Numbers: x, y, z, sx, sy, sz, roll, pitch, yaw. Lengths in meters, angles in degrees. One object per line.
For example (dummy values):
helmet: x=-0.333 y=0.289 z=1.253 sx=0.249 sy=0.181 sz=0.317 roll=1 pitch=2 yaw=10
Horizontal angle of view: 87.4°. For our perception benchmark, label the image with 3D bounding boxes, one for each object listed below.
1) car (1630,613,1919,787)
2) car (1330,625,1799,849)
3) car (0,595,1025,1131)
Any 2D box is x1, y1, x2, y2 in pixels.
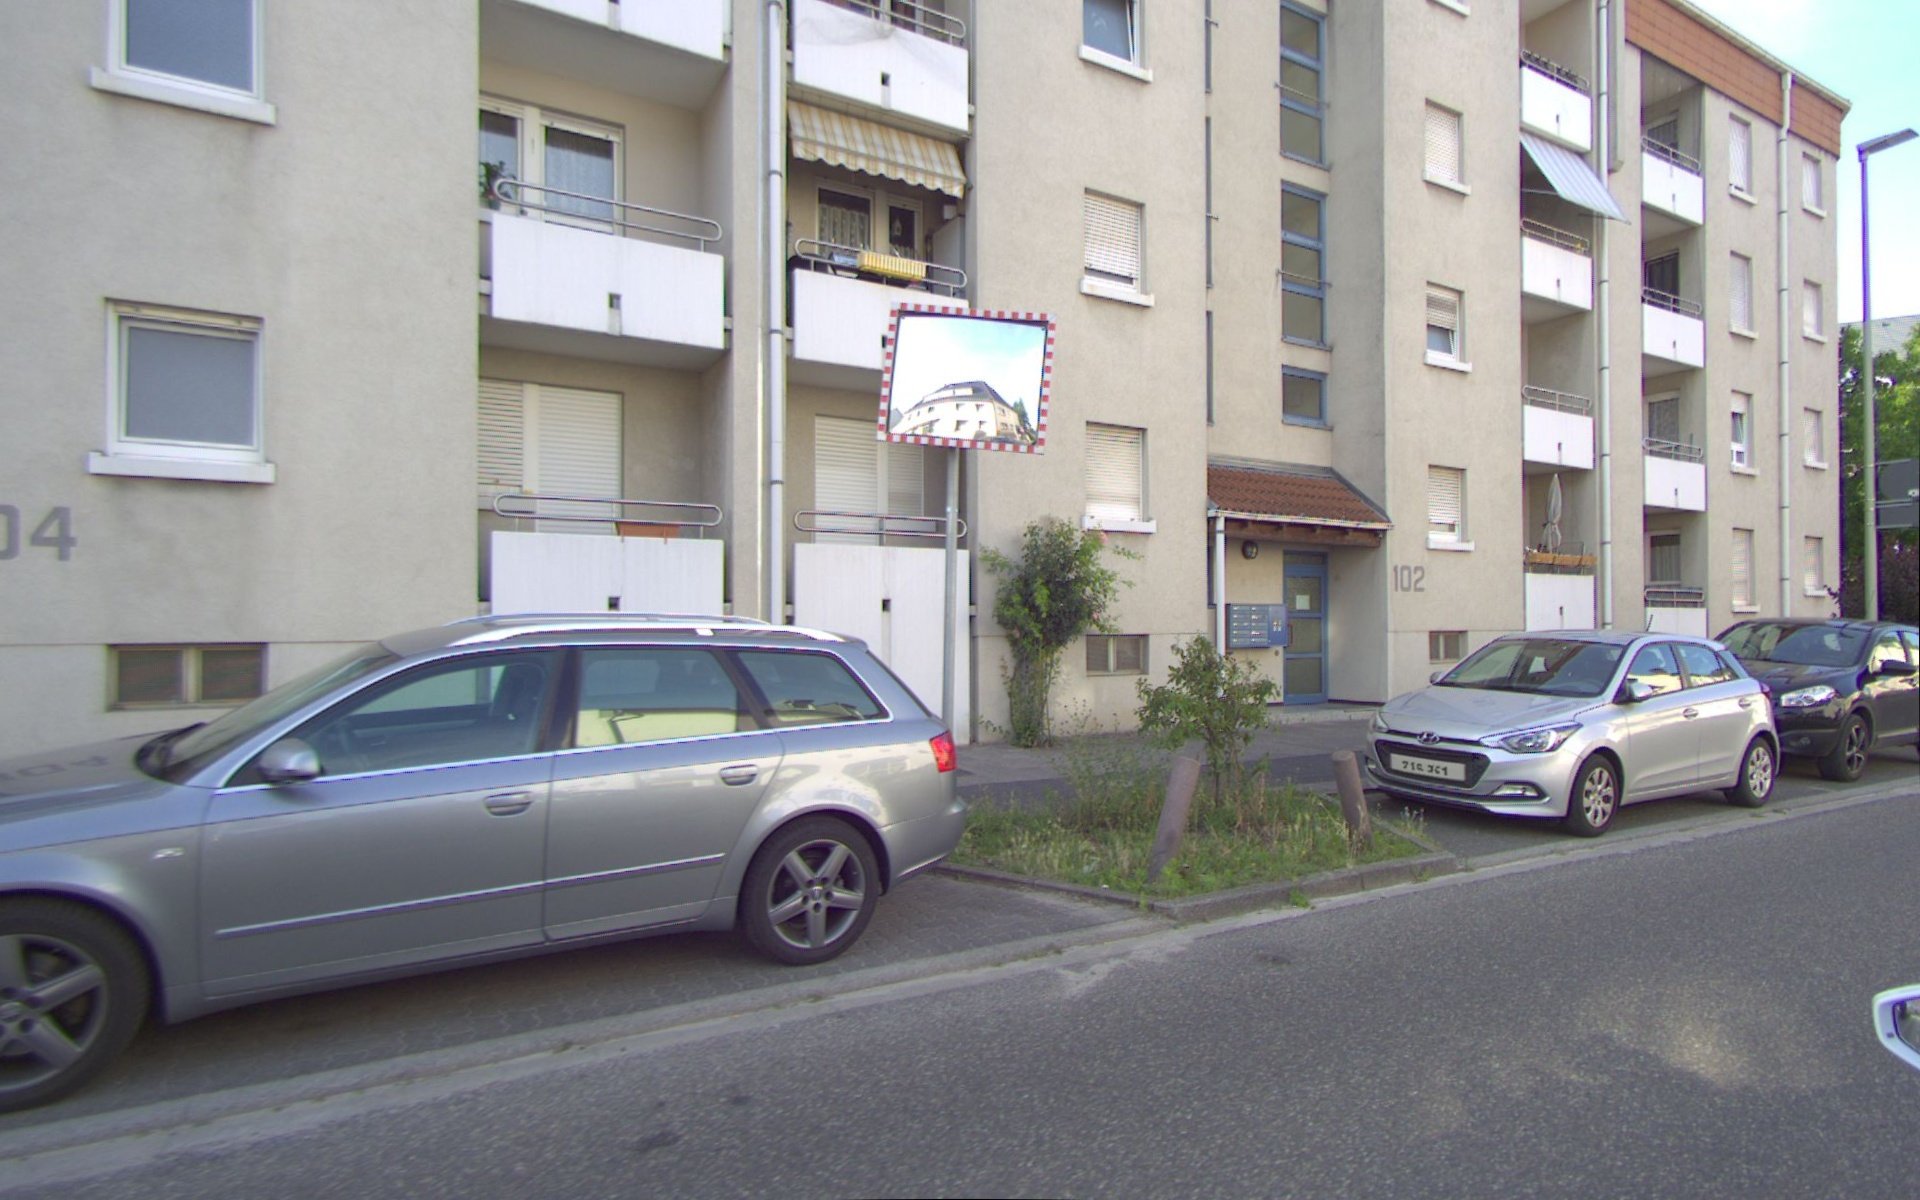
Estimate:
car: x=9.535 y=0.981 z=11.274 sx=4.319 sy=1.624 sz=1.677 roll=1 pitch=-1 yaw=-31
car: x=5.204 y=0.966 z=8.520 sx=4.092 sy=1.474 sz=1.678 roll=1 pitch=-1 yaw=-30
car: x=-1.988 y=0.780 z=4.438 sx=4.321 sy=1.541 sz=1.798 roll=1 pitch=-1 yaw=-32
